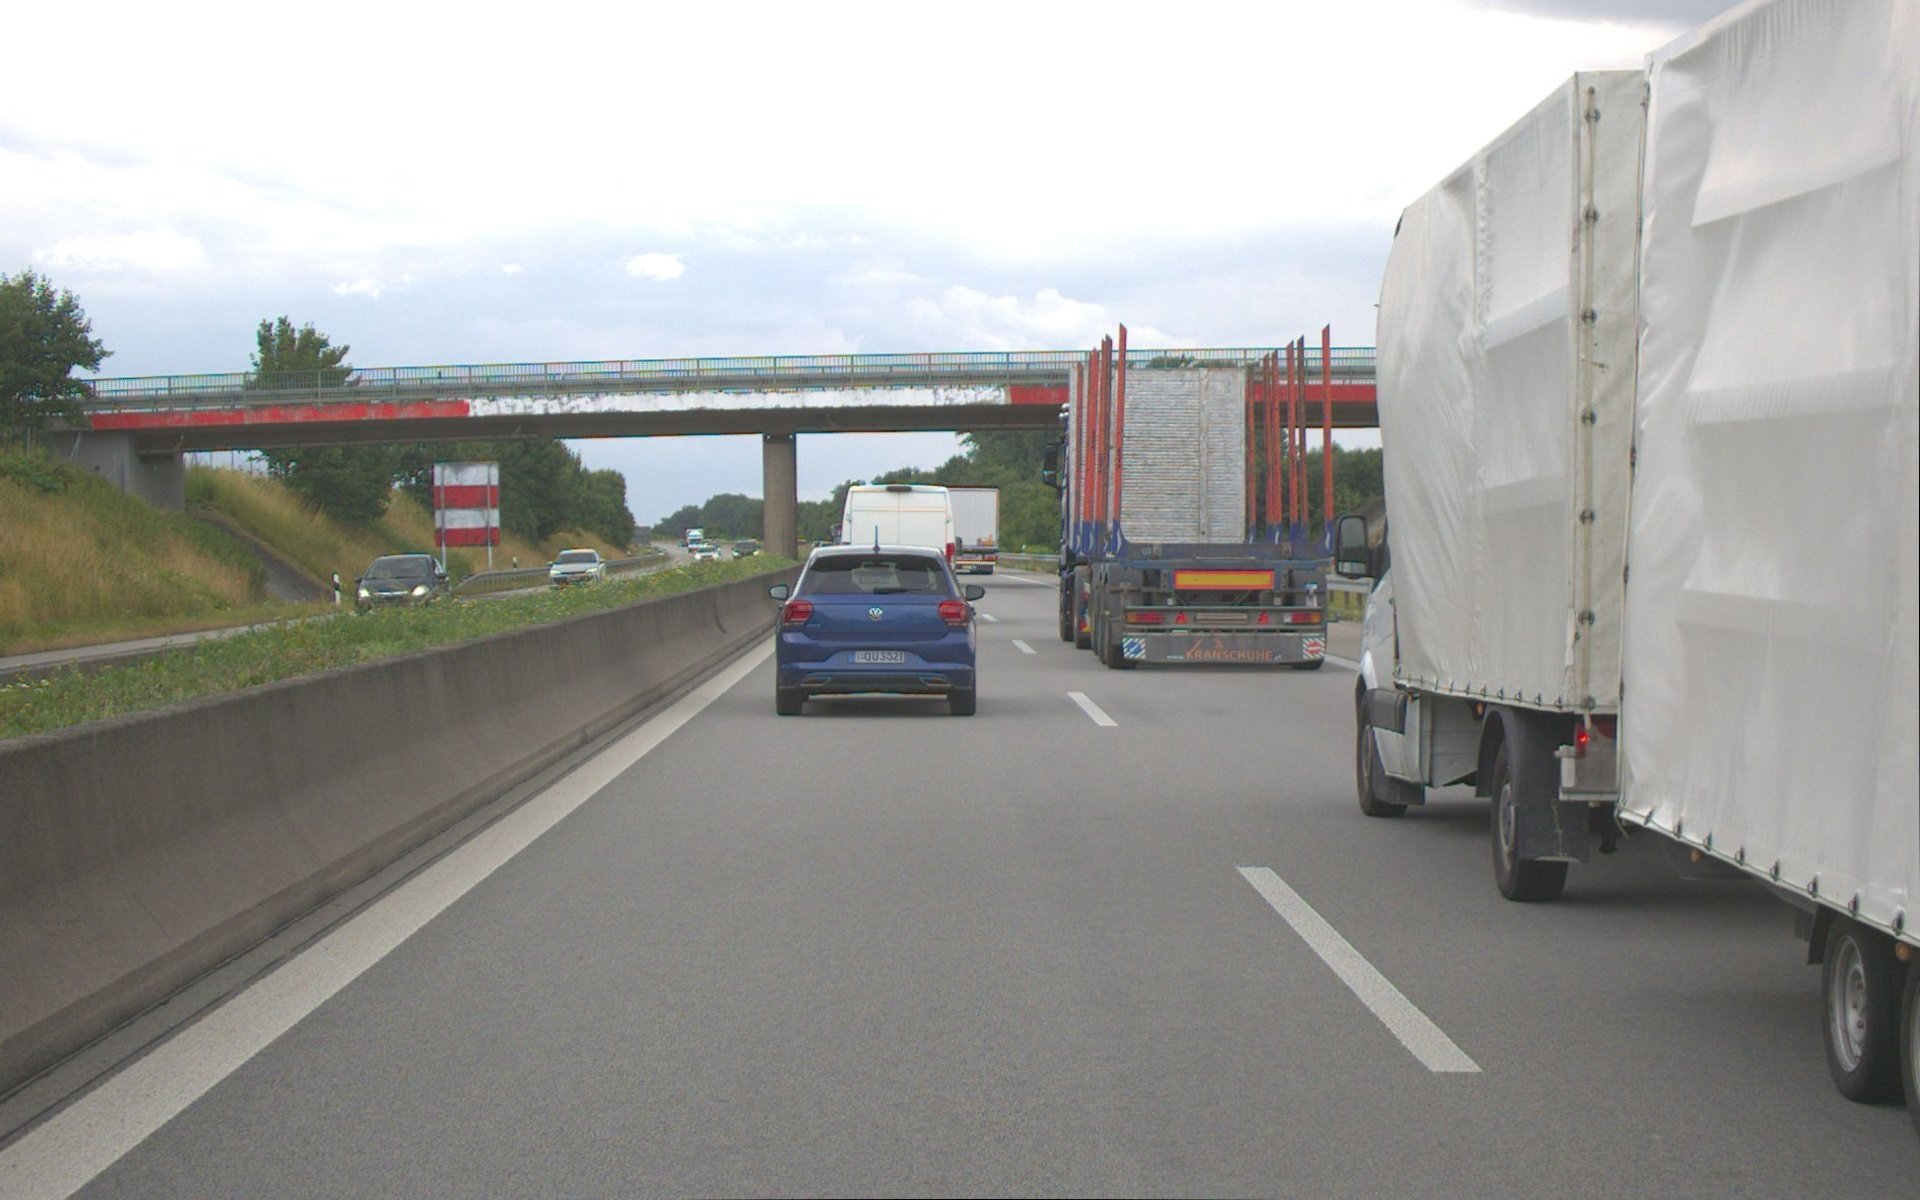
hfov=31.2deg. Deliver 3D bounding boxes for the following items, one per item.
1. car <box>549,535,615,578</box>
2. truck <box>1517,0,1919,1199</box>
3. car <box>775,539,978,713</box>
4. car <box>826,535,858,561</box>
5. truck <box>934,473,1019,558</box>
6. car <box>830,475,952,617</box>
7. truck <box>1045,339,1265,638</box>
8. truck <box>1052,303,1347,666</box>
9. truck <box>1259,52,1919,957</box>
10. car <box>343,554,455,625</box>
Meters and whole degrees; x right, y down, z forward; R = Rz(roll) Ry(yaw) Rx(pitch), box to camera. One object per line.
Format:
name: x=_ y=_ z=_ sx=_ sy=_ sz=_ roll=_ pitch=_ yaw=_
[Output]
car: x=-13.633 y=-1.577 z=124.243 sx=1.895 sy=1.456 sz=4.542 roll=-2 pitch=1 yaw=-1
truck: x=3.339 y=-0.250 z=8.712 sx=2.415 sy=3.211 sz=7.144 roll=0 pitch=1 yaw=-2
car: x=-0.731 y=0.182 z=30.161 sx=1.663 sy=1.402 sz=3.649 roll=0 pitch=1 yaw=-1
car: x=-7.609 y=-3.376 z=222.578 sx=1.993 sy=1.678 sz=4.000 roll=0 pitch=1 yaw=-1
truck: x=0.685 y=-3.856 z=157.920 sx=3.110 sy=3.677 sz=9.324 roll=-2 pitch=1 yaw=-4
car: x=-1.243 y=-0.997 z=63.062 sx=2.130 sy=2.474 sz=5.840 roll=0 pitch=1 yaw=-1
truck: x=2.716 y=-1.589 z=49.370 sx=2.673 sy=4.032 sz=5.513 roll=0 pitch=2 yaw=-2
truck: x=2.823 y=-1.439 z=43.937 sx=2.673 sy=4.031 sz=11.109 roll=0 pitch=2 yaw=-2
truck: x=3.068 y=-0.400 z=15.970 sx=2.429 sy=3.232 sz=7.248 roll=0 pitch=1 yaw=-2
car: x=-11.789 y=-0.244 z=72.488 sx=1.646 sy=1.373 sz=4.235 roll=-2 pitch=1 yaw=-1
